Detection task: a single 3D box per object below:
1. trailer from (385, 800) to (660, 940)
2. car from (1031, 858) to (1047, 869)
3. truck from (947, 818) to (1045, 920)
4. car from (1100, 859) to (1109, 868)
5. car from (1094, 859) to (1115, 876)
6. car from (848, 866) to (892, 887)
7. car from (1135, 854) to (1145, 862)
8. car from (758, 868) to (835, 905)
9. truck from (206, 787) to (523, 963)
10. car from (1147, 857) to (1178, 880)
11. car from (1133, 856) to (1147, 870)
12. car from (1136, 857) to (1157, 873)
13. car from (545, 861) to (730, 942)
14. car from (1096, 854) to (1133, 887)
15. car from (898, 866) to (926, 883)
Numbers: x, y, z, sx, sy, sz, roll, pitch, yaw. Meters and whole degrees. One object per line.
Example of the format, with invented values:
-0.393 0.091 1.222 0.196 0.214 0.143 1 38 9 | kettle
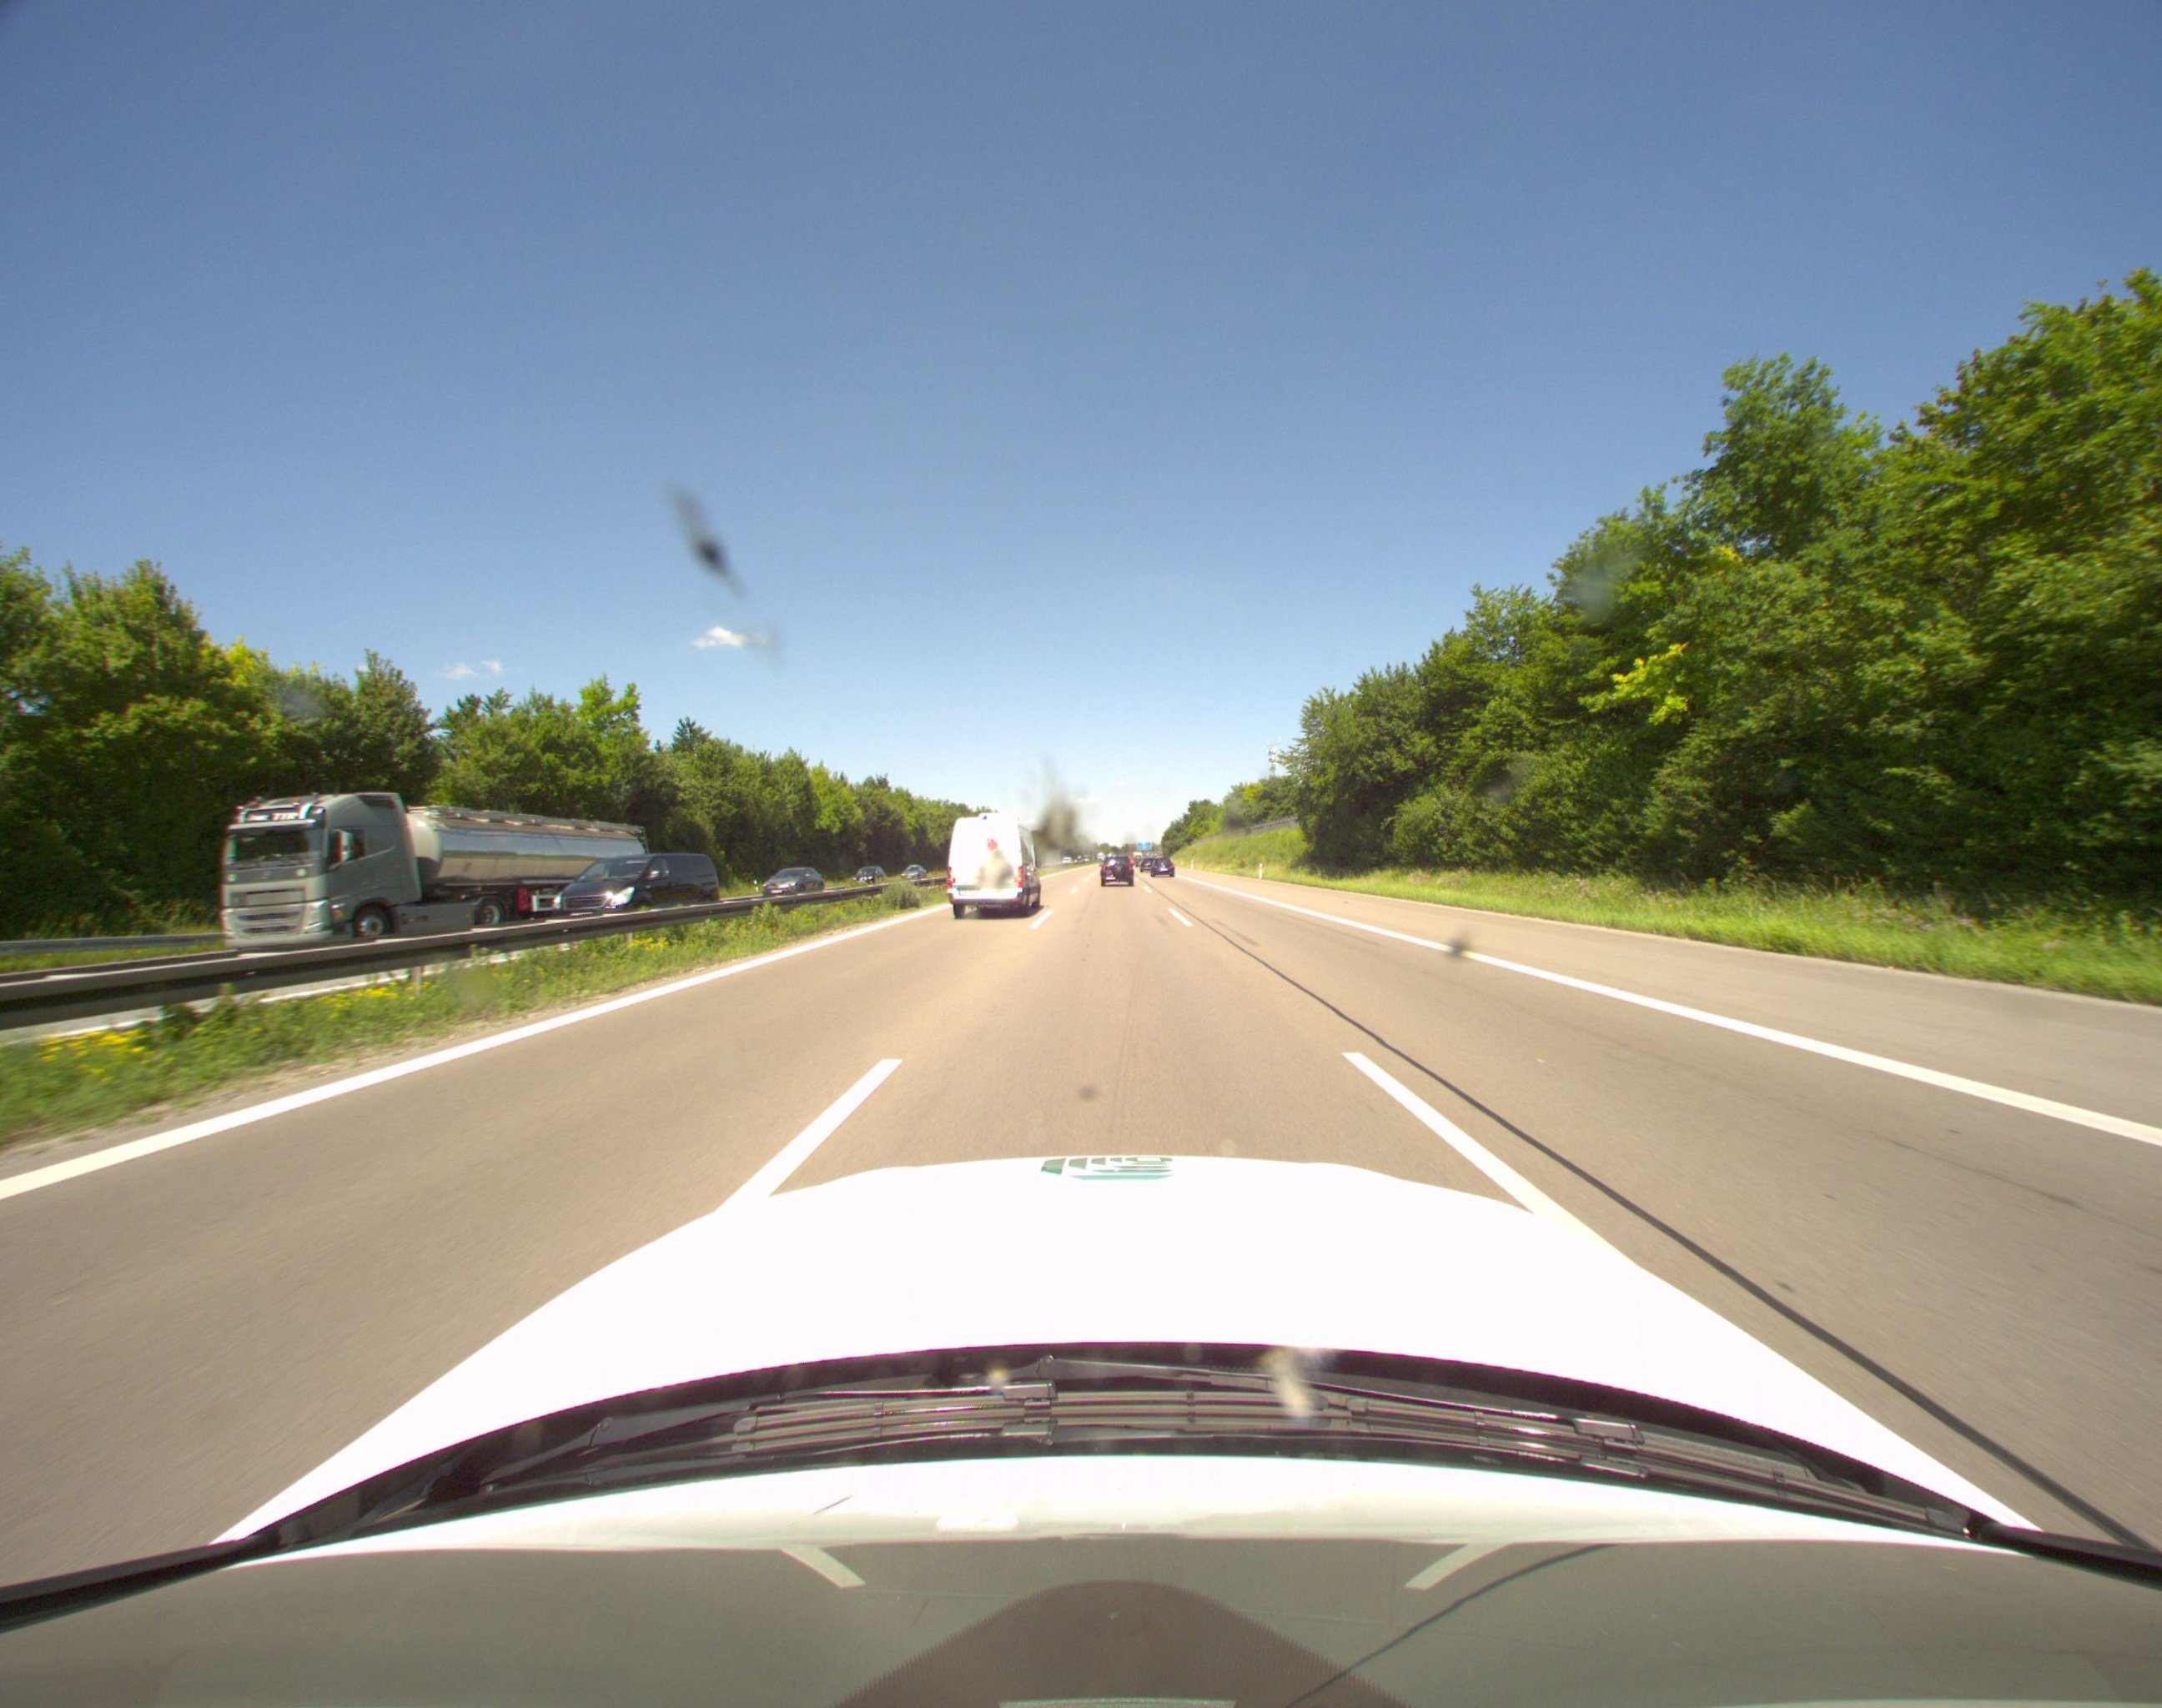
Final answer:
-18.687 0.507 28.429 2.757 3.882 9.457 -4 0 1 | trailer
-6.514 1.480 126.228 1.986 1.665 4.475 -2 0 2 | car
-2.265 0.390 23.738 1.986 2.542 6.693 0 0 1 | truck
6.064 2.423 207.351 1.984 2.013 4.957 -3 0 5 | car
2.595 1.487 90.007 1.984 1.706 4.341 -3 0 4 | car
-16.766 1.793 64.979 1.985 1.480 4.934 -2 0 3 | car
13.891 0.937 192.050 1.987 2.013 4.766 -2 0 0 | car
-13.891 1.564 40.081 1.879 1.589 4.636 -2 0 4 | car
-18.755 0.502 22.015 2.722 3.882 6.321 -4 0 0 | truck
6.323 1.150 63.677 1.987 1.684 4.000 -2 -1 1 | car
9.126 1.380 126.017 1.986 2.014 4.001 -2 -1 2 | car
6.723 1.142 84.063 1.836 1.611 4.000 -2 -1 1 | car
-11.297 1.108 21.260 1.899 1.788 5.061 -2 0 1 | car
1.802 0.893 44.370 1.899 1.665 4.001 -2 -1 1 | car
-16.612 2.016 80.199 1.703 1.628 4.003 -2 -1 3 | car
